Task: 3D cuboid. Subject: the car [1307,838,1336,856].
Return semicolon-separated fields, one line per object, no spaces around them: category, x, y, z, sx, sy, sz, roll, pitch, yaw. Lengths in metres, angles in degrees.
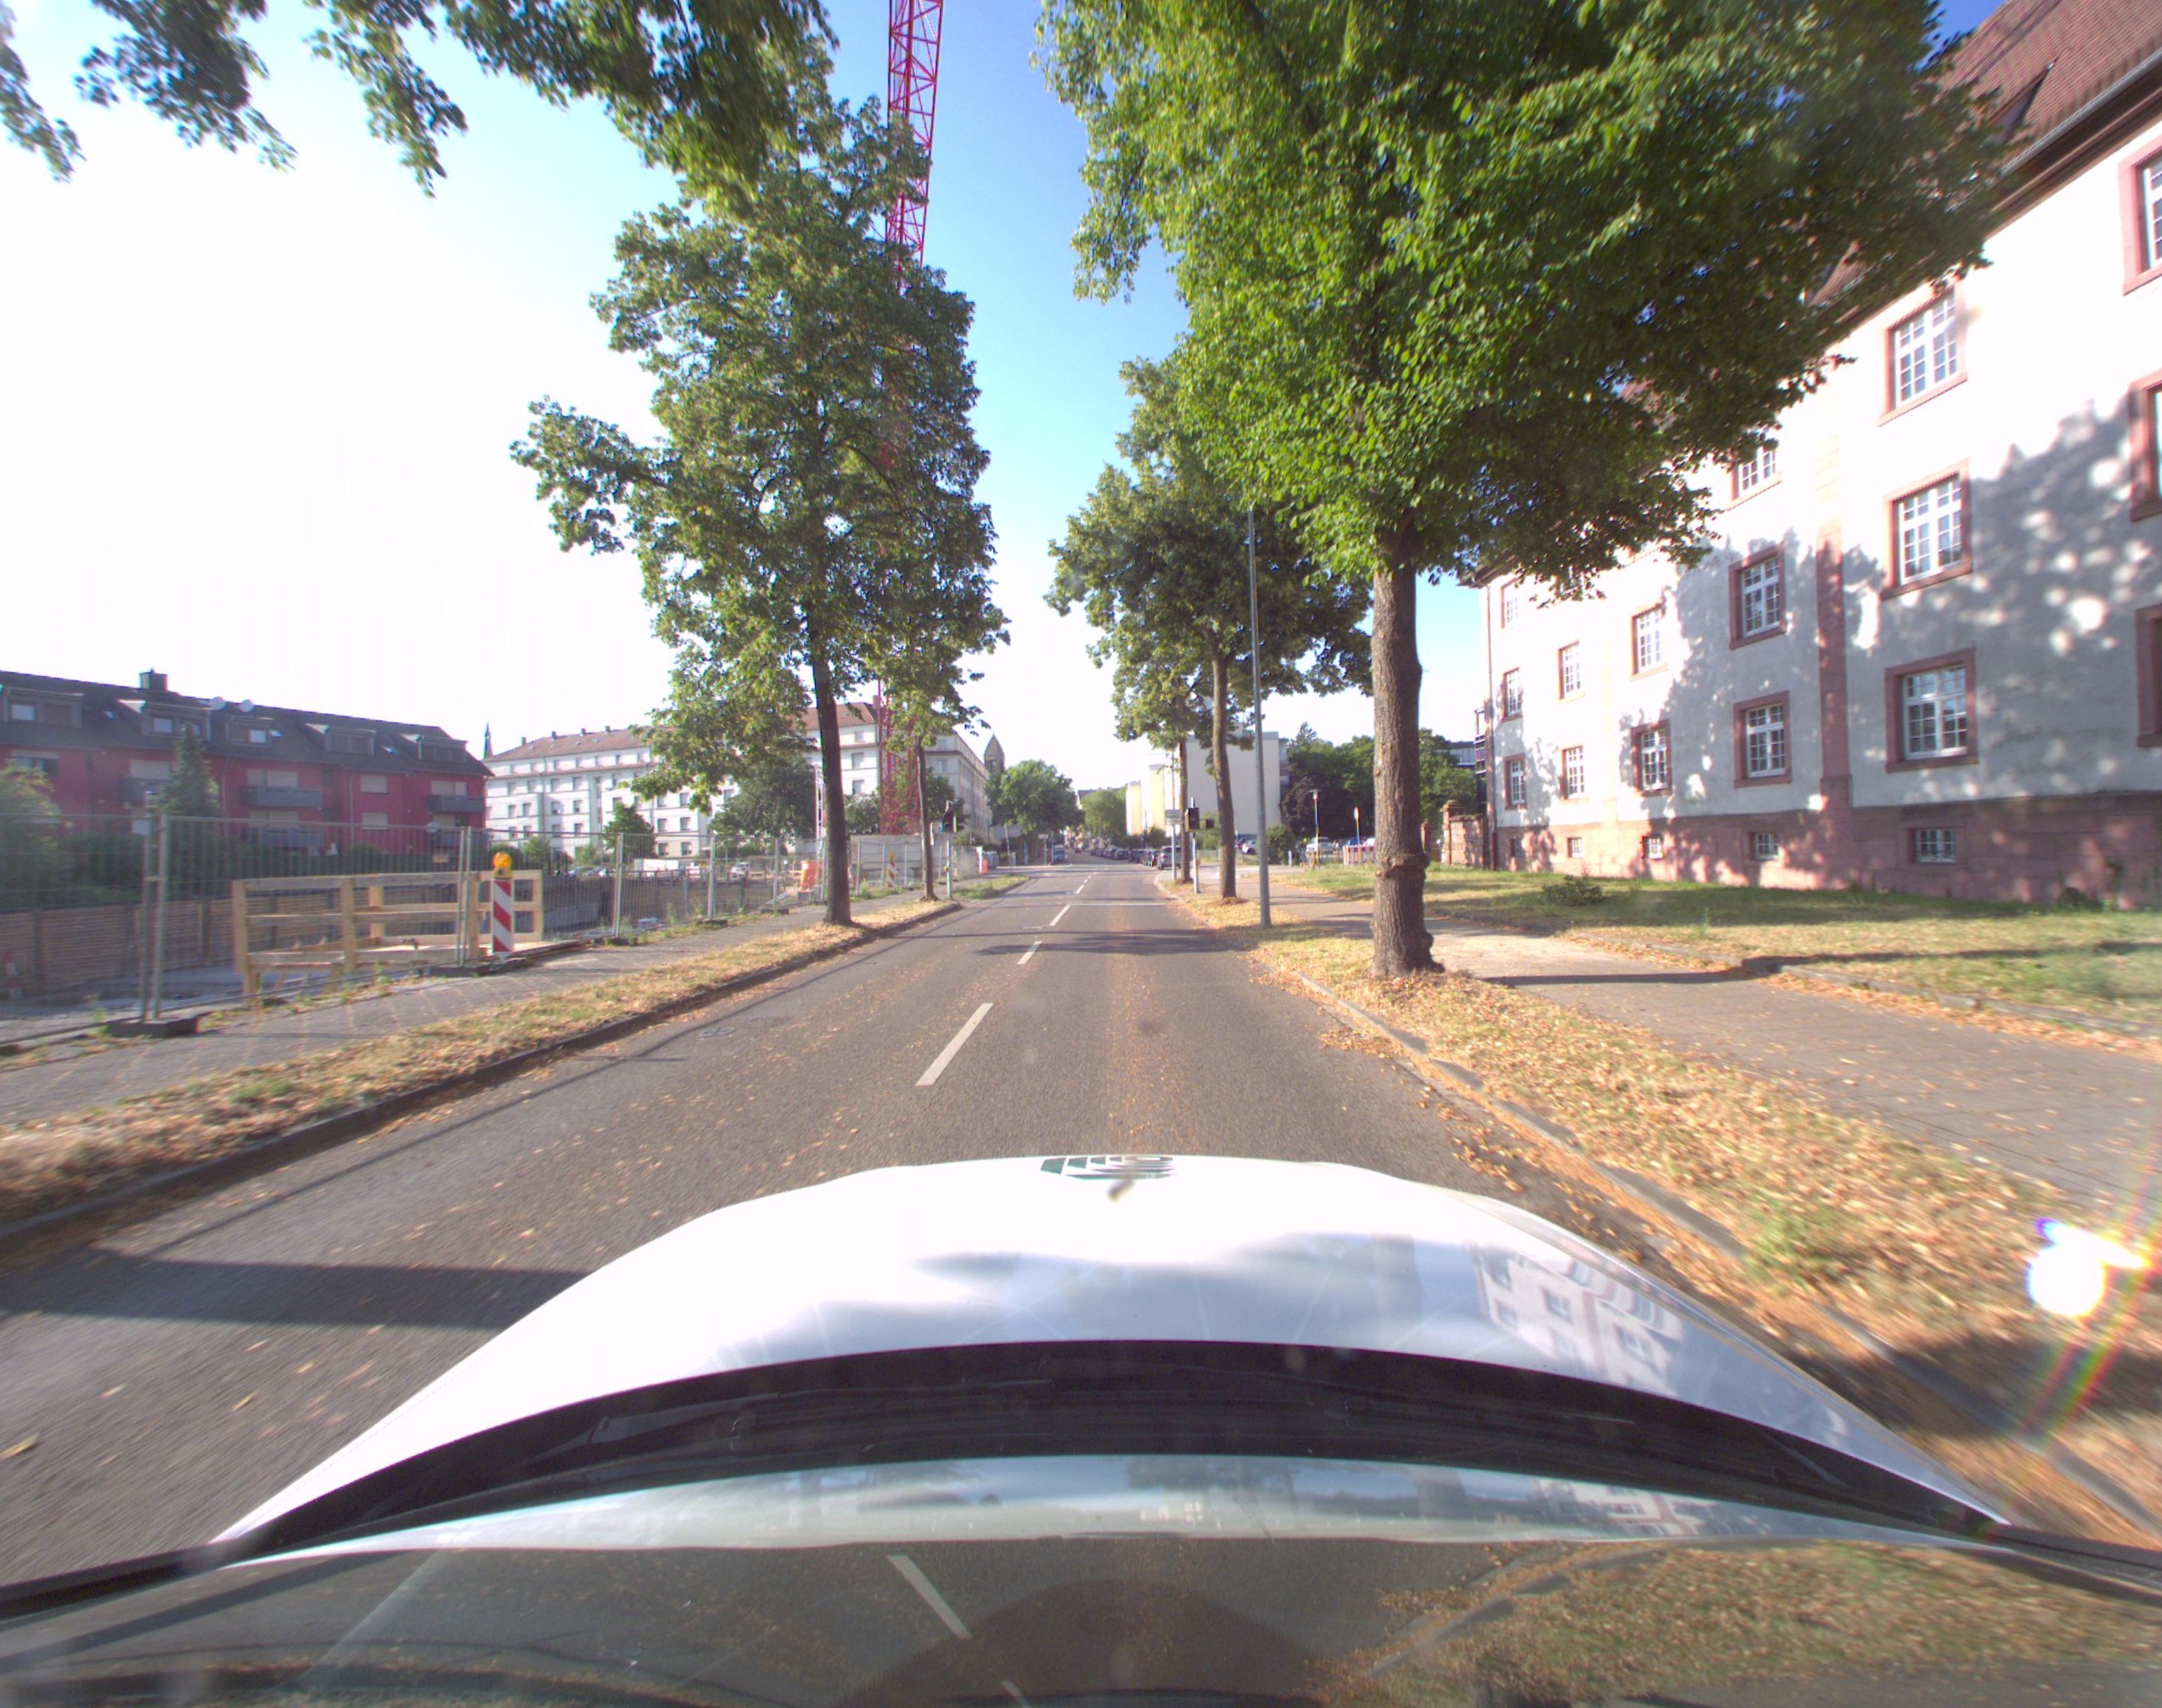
car;21.403;-0.604;72.569;1.804;1.559;3.630;0;-1;4

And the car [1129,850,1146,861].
car;6.556;0.174;95.011;1.834;1.261;4.001;-3;0;2

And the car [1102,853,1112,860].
car;5.008;0.473;157.178;1.836;1.386;3.998;-3;0;-1

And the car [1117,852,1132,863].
car;6.042;0.502;113.365;1.836;1.386;3.998;-3;0;-1

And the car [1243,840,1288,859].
car;17.303;-0.377;76.676;3.965;1.684;2.004;-1;-1;7

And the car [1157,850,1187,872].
car;6.793;0.509;61.136;1.834;1.574;4.001;-3;0;2

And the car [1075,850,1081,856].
car;-0.885;-0.188;231.243;1.709;1.486;3.997;-3;0;-2

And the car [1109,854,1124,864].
car;5.395;0.731;124.178;1.836;1.386;3.998;-3;0;-1

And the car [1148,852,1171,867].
car;6.953;0.489;72.498;1.773;1.227;4.001;-3;0;2

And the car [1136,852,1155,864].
car;6.939;0.433;88.245;1.834;1.261;4.001;-3;0;2

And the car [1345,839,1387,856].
car;31.106;-0.693;88.891;3.970;1.728;1.774;0;0;3

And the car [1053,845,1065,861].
car;-4.511;-0.157;165.954;2.180;3.131;4.981;-4;0;-2

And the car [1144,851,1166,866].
car;7.038;0.441;77.980;1.834;1.261;4.001;-3;0;2

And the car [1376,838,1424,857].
car;30.627;-0.590;78.224;3.970;1.728;1.774;0;0;3

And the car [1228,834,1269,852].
car;17.619;-1.151;85.702;3.970;1.728;1.774;-1;0;3

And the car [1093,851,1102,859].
car;3.806;0.241;186.720;1.836;1.386;3.998;-8;0;-1

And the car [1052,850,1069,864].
car;-2.553;0.374;100.773;1.989;1.687;3.995;-2;-1;-4

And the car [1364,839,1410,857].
car;30.465;-0.603;81.192;3.970;1.728;1.774;0;0;3

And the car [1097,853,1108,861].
car;4.276;0.566;163.692;1.836;1.386;3.998;-3;0;-1

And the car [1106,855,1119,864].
car;5.249;0.962;136.369;1.836;1.386;3.998;-3;0;-1
